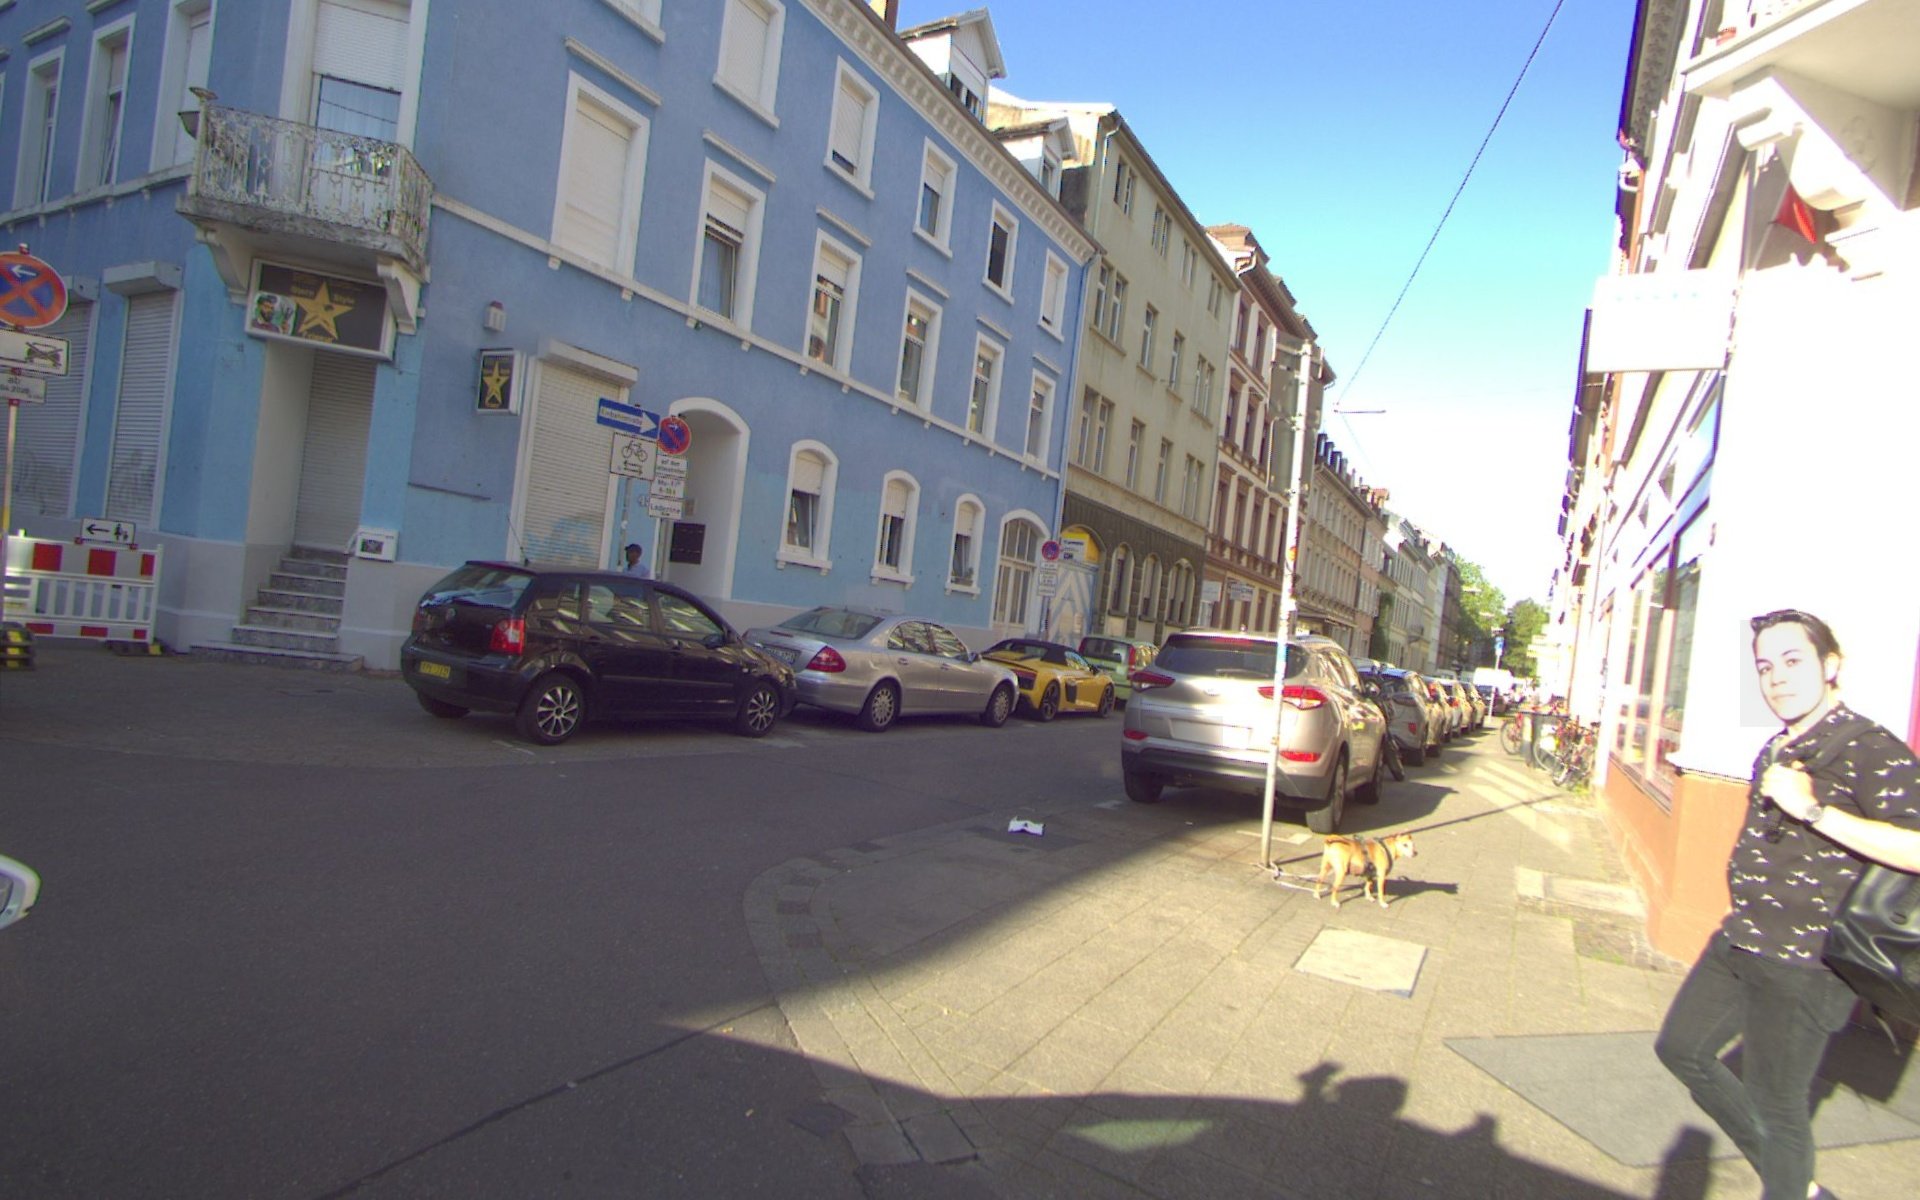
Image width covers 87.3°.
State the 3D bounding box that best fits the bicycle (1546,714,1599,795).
[{"bbox_3d":[8.858,2.208,14.586,0.447,1.021,1.644,6,-2,28],"label":"bicycle"}]

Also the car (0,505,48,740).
[{"bbox_3d":[-7.975,-0.117,6.557,3.965,1.451,1.776,7,-2,30],"label":"car"}]

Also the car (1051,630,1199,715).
[{"bbox_3d":[3.788,1.673,22.584,1.728,1.494,3.975,9,-1,32],"label":"car"}]

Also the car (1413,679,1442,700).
[{"bbox_3d":[37.922,7.261,81.529,1.723,1.530,3.911,3,-4,30],"label":"car"}]

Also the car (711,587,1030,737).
[{"bbox_3d":[-0.961,0.883,13.367,1.728,1.451,4.477,9,-1,32],"label":"car"}]

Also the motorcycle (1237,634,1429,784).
[{"bbox_3d":[4.882,1.430,13.131,2.307,1.668,0.847,8,-2,-26],"label":"motorcycle"}]

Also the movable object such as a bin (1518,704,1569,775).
[{"bbox_3d":[10.188,2.423,17.570,0.656,1.129,0.716,6,-2,31],"label":"movable object such as a bin"}]

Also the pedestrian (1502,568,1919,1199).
[{"bbox_3d":[2.242,0.873,2.652,0.972,1.816,0.827,5,2,-5],"label":"pedestrian"}]

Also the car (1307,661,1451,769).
[{"bbox_3d":[7.369,1.961,17.476,1.723,1.530,3.911,3,-4,30],"label":"car"}]

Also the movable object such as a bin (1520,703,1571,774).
[{"bbox_3d":[10.661,2.514,18.336,0.668,1.171,0.569,6,-1,28],"label":"movable object such as a bin"}]

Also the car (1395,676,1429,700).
[{"bbox_3d":[32.195,6.295,71.669,1.723,1.530,3.911,3,-4,30],"label":"car"}]

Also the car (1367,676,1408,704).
[{"bbox_3d":[26.115,5.514,61.366,1.723,1.530,3.911,3,-4,30],"label":"car"}]

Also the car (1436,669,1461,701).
[{"bbox_3d":[47.927,8.353,98.710,1.723,2.949,4.187,3,-3,30],"label":"car"}]

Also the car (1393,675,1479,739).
[{"bbox_3d":[12.952,2.889,27.263,1.723,1.469,3.911,3,-4,30],"label":"car"}]

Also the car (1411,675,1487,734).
[{"bbox_3d":[15.031,3.190,30.811,1.723,1.530,3.911,3,-4,30],"label":"car"}]

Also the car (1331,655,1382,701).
[{"bbox_3d":[19.967,3.934,50.564,1.723,2.076,3.911,3,-3,30],"label":"car"}]

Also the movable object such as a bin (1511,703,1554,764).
[{"bbox_3d":[11.760,2.731,20.665,0.656,1.146,0.671,6,-2,31],"label":"movable object such as a bin"}]

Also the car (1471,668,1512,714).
[{"bbox_3d":[30.703,5.260,58.115,1.815,2.459,3.911,3,-3,31],"label":"car"}]

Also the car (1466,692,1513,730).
[{"bbox_3d":[25.060,5.232,47.589,1.723,1.530,3.911,3,-4,30],"label":"car"}]

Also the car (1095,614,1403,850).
[{"bbox_3d":[3.006,1.181,9.778,1.825,1.651,4.067,4,-3,31],"label":"car"}]

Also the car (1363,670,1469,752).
[{"bbox_3d":[10.320,2.473,22.625,1.723,1.530,3.911,3,-4,30],"label":"car"}]

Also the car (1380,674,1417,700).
[{"bbox_3d":[28.759,5.711,65.896,1.723,1.530,3.911,3,-4,30],"label":"car"}]

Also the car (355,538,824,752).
[{"bbox_3d":[-3.209,0.484,9.505,1.648,1.470,3.875,7,-1,30],"label":"car"}]

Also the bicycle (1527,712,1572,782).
[{"bbox_3d":[9.512,2.346,16.259,0.447,1.021,1.644,6,-2,28],"label":"bicycle"}]

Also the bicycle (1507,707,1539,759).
[{"bbox_3d":[12.206,2.864,21.827,0.447,1.021,1.644,6,-2,28],"label":"bicycle"}]

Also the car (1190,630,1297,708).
[{"bbox_3d":[8.655,2.145,30.445,1.805,1.969,4.547,8,-1,31],"label":"car"}]

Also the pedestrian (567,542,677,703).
[{"bbox_3d":[-4.173,0.287,12.450,0.767,1.871,0.771,6,-1,30],"label":"pedestrian"}]

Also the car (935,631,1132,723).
[{"bbox_3d":[1.442,1.394,17.839,1.727,1.242,4.159,6,-2,31],"label":"car"}]
